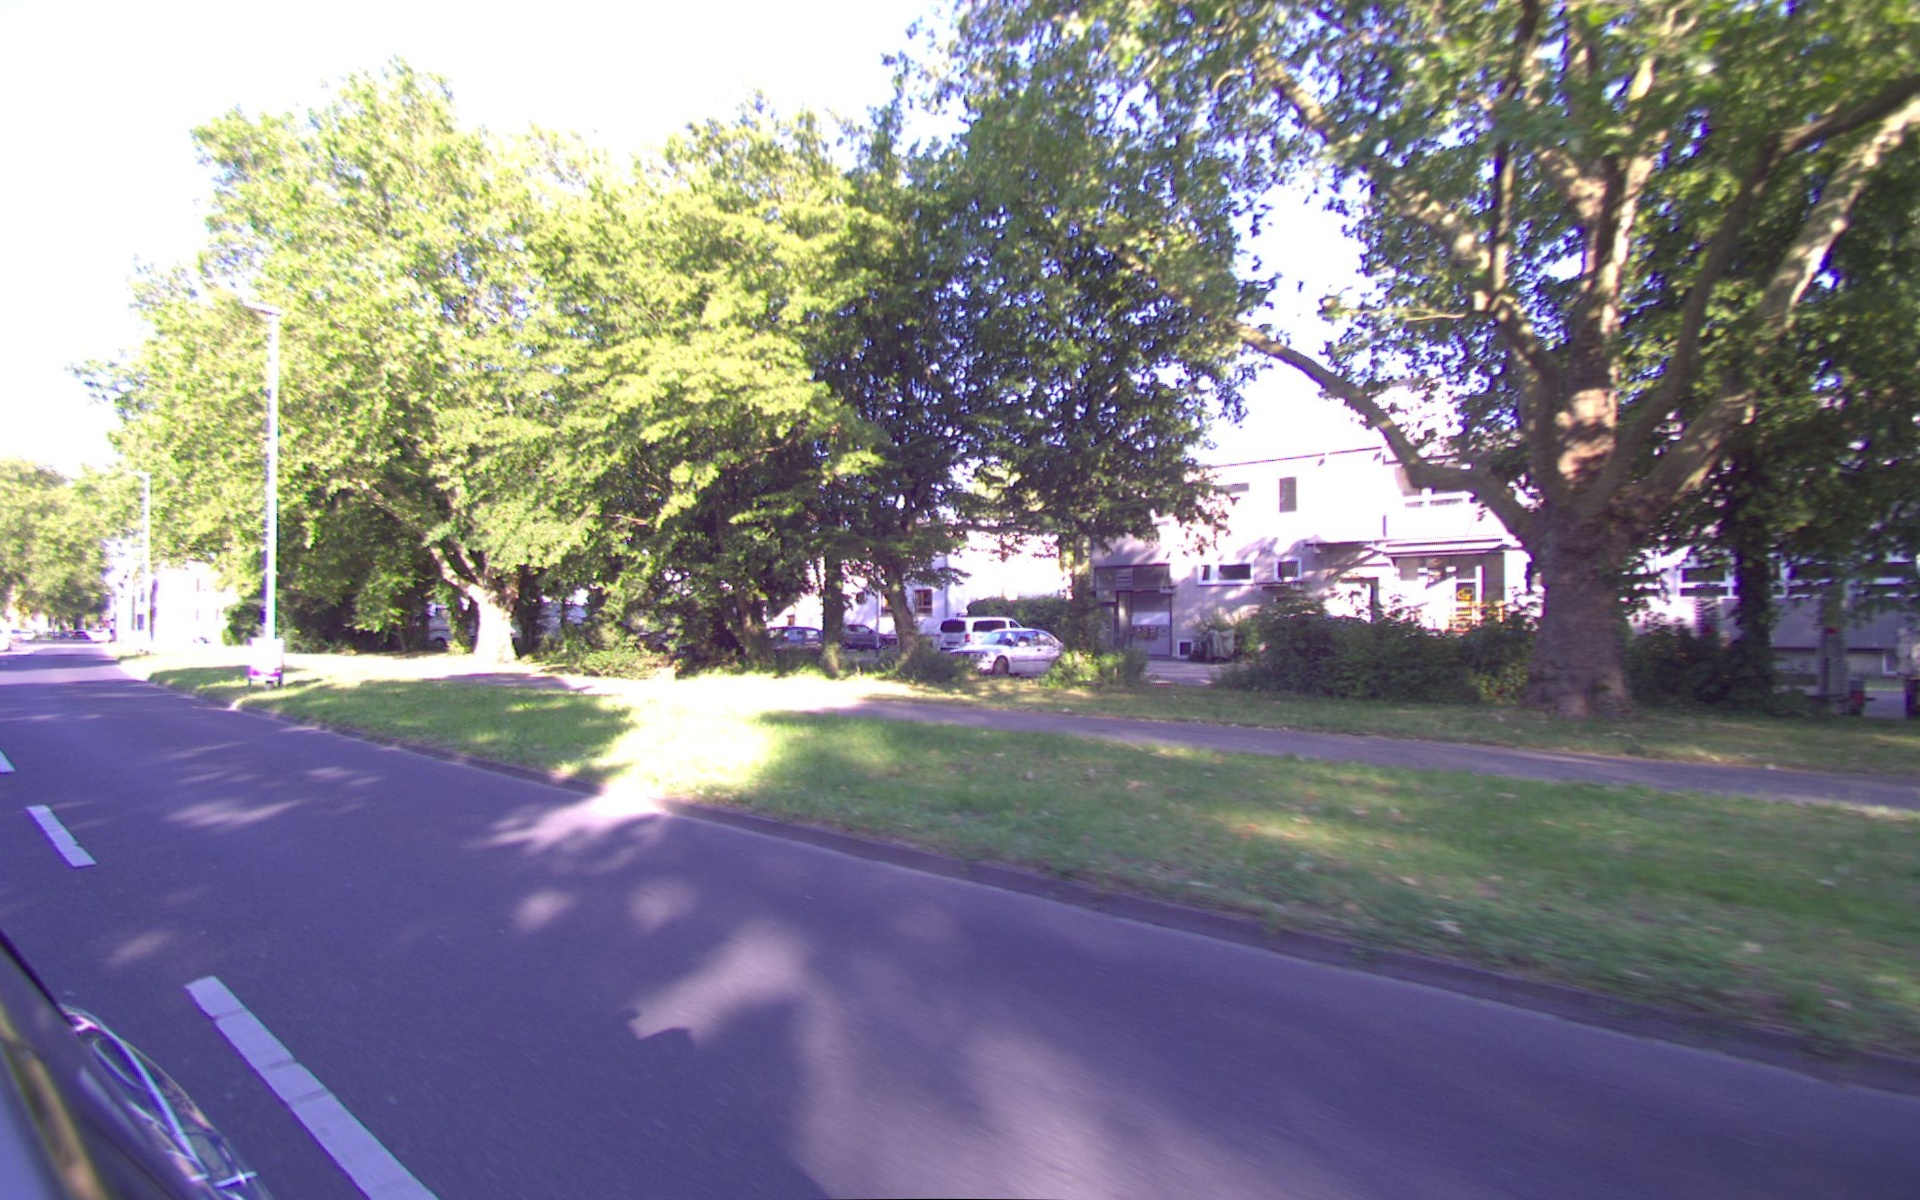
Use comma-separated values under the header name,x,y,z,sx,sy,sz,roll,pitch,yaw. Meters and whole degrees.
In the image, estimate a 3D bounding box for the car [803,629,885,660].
name,x,y,z,sx,sy,sz,roll,pitch,yaw
car,-6.031,2.307,52.865,1.925,1.564,3.942,-2,-3,44

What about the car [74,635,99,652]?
name,x,y,z,sx,sy,sz,roll,pitch,yaw
car,-84.766,4.202,98.240,1.739,1.495,4.115,-1,-1,-39

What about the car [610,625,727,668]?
name,x,y,z,sx,sy,sz,roll,pitch,yaw
car,-11.579,1.823,40.376,1.952,1.608,4.082,-2,-3,40

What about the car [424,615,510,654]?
name,x,y,z,sx,sy,sz,roll,pitch,yaw
car,-27.876,1.954,57.260,1.907,2.060,3.946,-4,-3,40

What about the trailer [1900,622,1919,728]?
name,x,y,z,sx,sy,sz,roll,pitch,yaw
trailer,15.679,1.123,15.207,1.998,1.567,3.947,-2,-2,40

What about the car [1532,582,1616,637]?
name,x,y,z,sx,sy,sz,roll,pitch,yaw
car,19.340,0.329,31.799,1.926,1.614,3.951,-1,-2,36

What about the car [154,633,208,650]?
name,x,y,z,sx,sy,sz,roll,pitch,yaw
car,-73.322,3.904,95.301,3.933,1.429,1.919,-1,-3,-34

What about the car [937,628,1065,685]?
name,x,y,z,sx,sy,sz,roll,pitch,yaw
car,1.203,1.610,28.457,1.764,1.475,3.694,-1,-5,38

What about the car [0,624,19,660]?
name,x,y,z,sx,sy,sz,roll,pitch,yaw
car,-58.061,2.495,60.746,1.905,2.029,4.008,1,-1,-38

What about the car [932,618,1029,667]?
name,x,y,z,sx,sy,sz,roll,pitch,yaw
car,0.980,1.837,45.154,1.998,2.029,4.499,-1,-1,40

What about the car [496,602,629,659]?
name,x,y,z,sx,sy,sz,roll,pitch,yaw
car,-18.751,1.492,47.926,5.367,2.521,2.188,4,-4,-44

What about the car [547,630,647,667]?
name,x,y,z,sx,sy,sz,roll,pitch,yaw
car,-15.704,2.061,43.877,1.815,1.511,3.684,-2,-3,44

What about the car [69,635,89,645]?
name,x,y,z,sx,sy,sz,roll,pitch,yaw
car,-142.594,6.481,163.804,1.871,1.602,4.080,2,-3,-34
